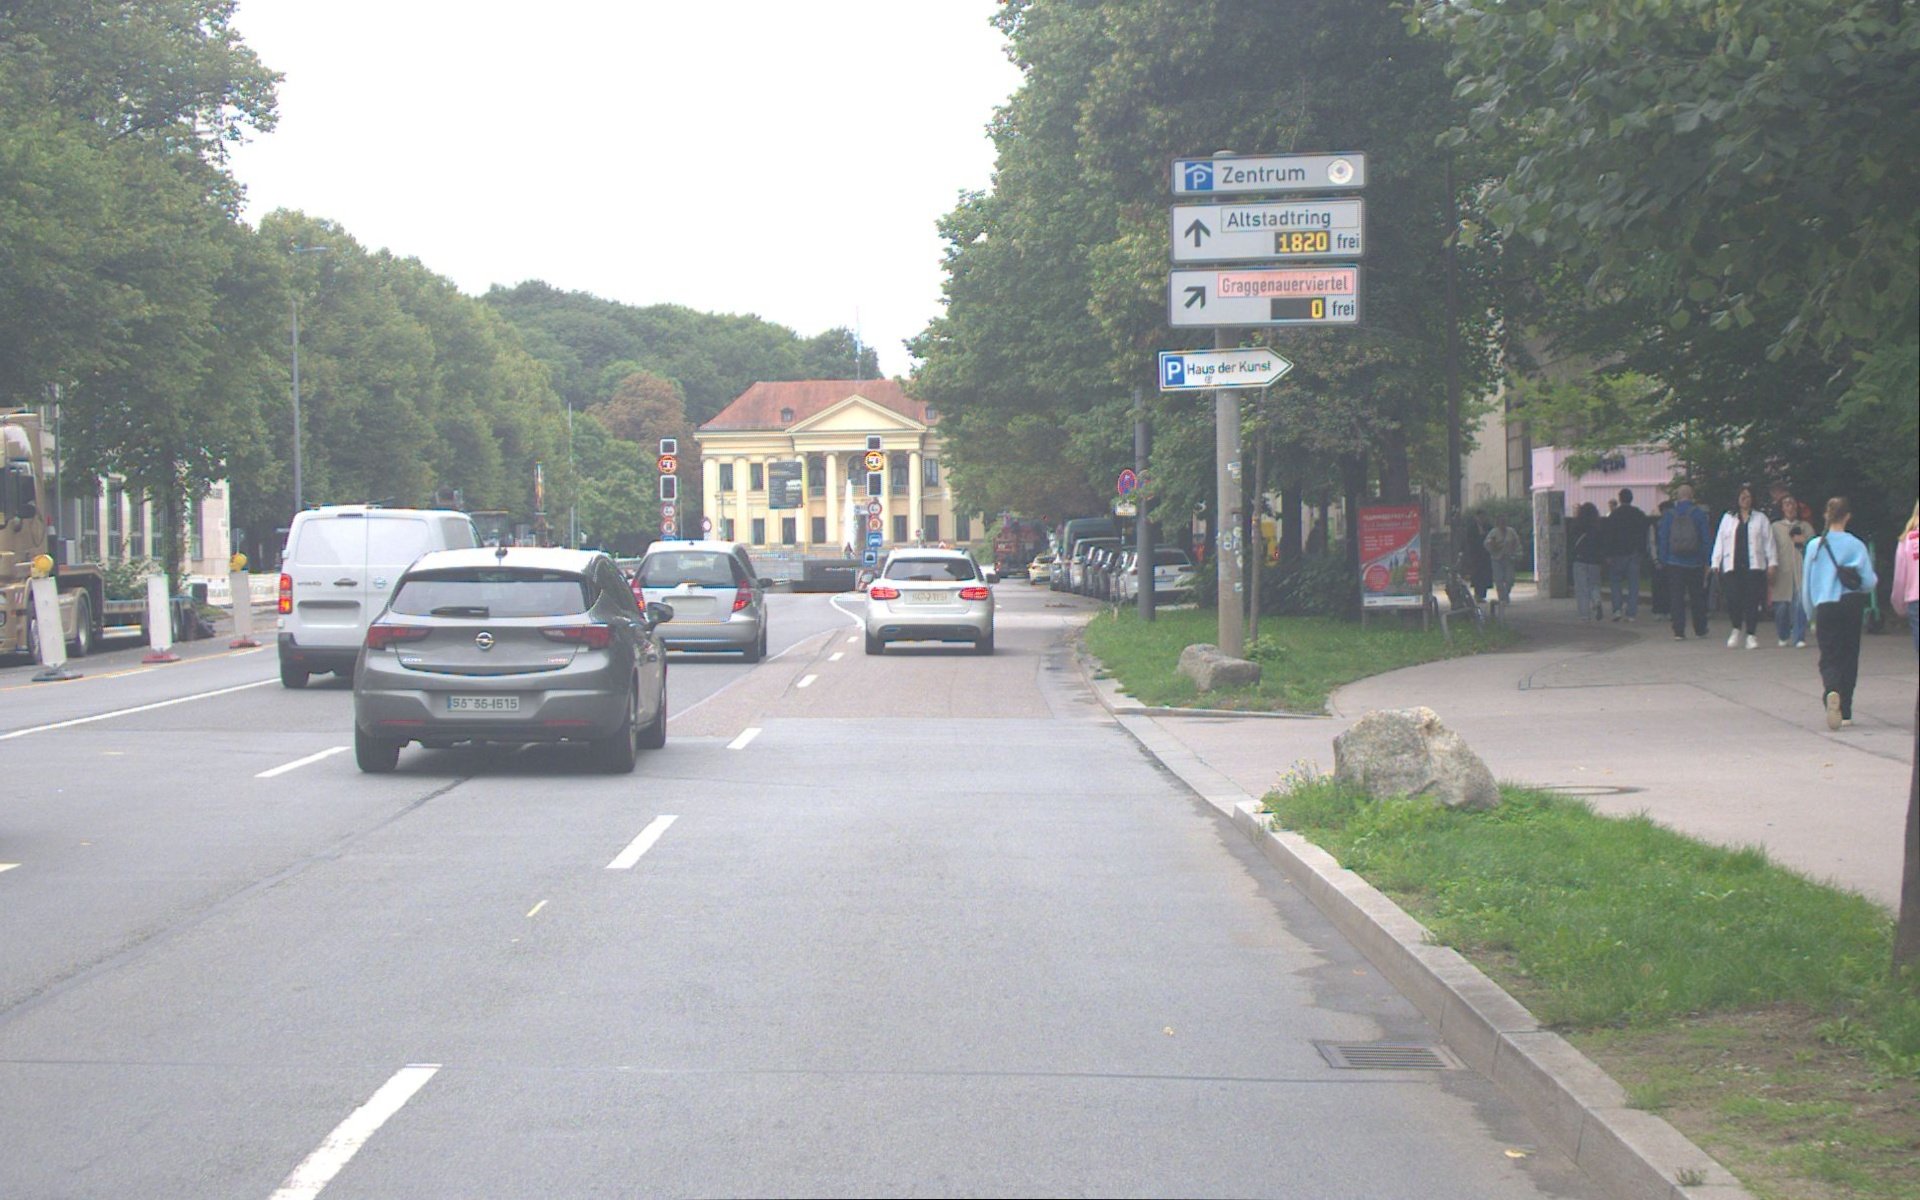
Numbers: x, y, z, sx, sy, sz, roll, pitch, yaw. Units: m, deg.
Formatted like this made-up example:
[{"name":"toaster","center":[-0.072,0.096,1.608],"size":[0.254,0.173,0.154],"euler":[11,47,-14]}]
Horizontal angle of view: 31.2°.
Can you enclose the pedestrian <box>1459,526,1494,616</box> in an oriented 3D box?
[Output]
[{"name":"pedestrian","center":[9.650,-0.549,64.268],"size":[0.580,1.670,0.553],"euler":[1,0,4]}]

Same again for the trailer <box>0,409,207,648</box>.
[{"name":"trailer","center":[-15.477,-1.180,59.615],"size":[2.949,3.727,11.772],"euler":[1,0,-4]}]

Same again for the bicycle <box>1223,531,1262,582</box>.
[{"name":"bicycle","center":[6.946,-1.059,84.659],"size":[0.628,1.227,2.619],"euler":[1,0,-2]}]

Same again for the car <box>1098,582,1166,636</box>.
[{"name":"car","center":[4.915,0.232,98.550],"size":[1.724,1.459,4.776],"euler":[-1,0,0]}]

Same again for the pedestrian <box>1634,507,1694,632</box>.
[{"name":"pedestrian","center":[9.912,-0.425,48.376],"size":[0.755,1.731,0.849],"euler":[1,0,15]}]

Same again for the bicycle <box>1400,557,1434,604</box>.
[{"name":"bicycle","center":[13.788,-0.589,103.776],"size":[0.699,1.410,2.299],"euler":[-1,0,0]}]

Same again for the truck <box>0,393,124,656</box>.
[{"name":"truck","center":[-15.051,-1.135,53.100],"size":[2.915,3.762,7.667],"euler":[1,0,-4]}]

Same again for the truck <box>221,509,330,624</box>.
[{"name":"truck","center":[-20.920,-1.019,105.407],"size":[2.840,3.345,8.766],"euler":[1,0,-9]}]

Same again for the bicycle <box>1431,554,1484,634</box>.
[{"name":"bicycle","center":[6.494,-0.083,44.919],"size":[0.384,1.018,2.079],"euler":[1,0,0]}]

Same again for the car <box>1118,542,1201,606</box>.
[{"name":"car","center":[5.002,-0.652,86.528],"size":[1.827,1.544,4.751],"euler":[-1,0,0]}]

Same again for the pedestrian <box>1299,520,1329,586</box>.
[{"name":"pedestrian","center":[10.166,-1.348,98.695],"size":[0.764,1.904,0.771],"euler":[1,0,1]}]

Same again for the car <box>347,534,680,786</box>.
[{"name":"car","center":[-2.939,0.358,23.377],"size":[1.710,1.547,4.000],"euler":[1,0,0]}]

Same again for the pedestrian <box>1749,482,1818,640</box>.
[{"name":"pedestrian","center":[9.578,-0.454,39.991],"size":[0.588,1.816,0.850],"euler":[1,0,1]}]

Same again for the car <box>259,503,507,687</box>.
[{"name":"car","center":[-6.164,-0.063,37.261],"size":[1.898,1.841,4.956],"euler":[-1,0,-1]}]

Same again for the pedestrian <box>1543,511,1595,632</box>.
[{"name":"pedestrian","center":[8.555,-0.402,48.313],"size":[0.608,1.675,0.753],"euler":[1,0,4]}]

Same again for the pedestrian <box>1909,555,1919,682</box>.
[{"name":"pedestrian","center":[8.875,0.164,30.941],"size":[0.632,1.133,0.572],"euler":[1,0,15]}]

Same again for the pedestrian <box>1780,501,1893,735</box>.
[{"name":"pedestrian","center":[6.283,0.123,24.623],"size":[0.755,1.638,0.849],"euler":[1,0,15]}]

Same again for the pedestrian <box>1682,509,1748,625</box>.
[{"name":"pedestrian","center":[10.693,-0.468,48.726],"size":[0.680,1.632,0.664],"euler":[1,0,-12]}]

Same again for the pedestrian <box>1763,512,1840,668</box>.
[{"name":"pedestrian","center":[9.024,-0.111,36.856],"size":[0.755,1.638,0.690],"euler":[1,0,15]}]

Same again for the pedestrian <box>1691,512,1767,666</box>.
[{"name":"pedestrian","center":[8.286,-0.121,37.038],"size":[0.755,1.638,0.650],"euler":[1,0,15]}]

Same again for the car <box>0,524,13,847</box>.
[{"name":"car","center":[-5.683,0.448,15.462],"size":[1.722,1.631,4.205],"euler":[-1,0,-1]}]

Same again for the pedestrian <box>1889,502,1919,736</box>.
[{"name":"pedestrian","center":[7.002,0.133,24.430],"size":[0.755,1.638,0.849],"euler":[1,0,15]}]

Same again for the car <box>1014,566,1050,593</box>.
[{"name":"car","center":[3.572,-1.030,171.511],"size":[1.724,1.319,4.028],"euler":[-1,0,1]}]

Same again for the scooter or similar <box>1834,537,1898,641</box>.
[{"name":"scooter or similar","center":[10.558,-0.134,40.094],"size":[0.418,1.194,1.219],"euler":[1,0,0]}]

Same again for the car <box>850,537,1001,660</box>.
[{"name":"car","center":[-0.526,-0.042,48.339],"size":[1.779,1.639,4.001],"euler":[1,0,-5]}]

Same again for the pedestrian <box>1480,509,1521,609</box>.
[{"name":"pedestrian","center":[9.688,-0.738,61.631],"size":[0.630,1.768,0.782],"euler":[1,0,4]}]

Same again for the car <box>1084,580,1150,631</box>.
[{"name":"car","center":[4.733,0.144,103.896],"size":[1.822,1.459,4.028],"euler":[-1,0,1]}]

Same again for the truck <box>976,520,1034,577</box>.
[{"name":"truck","center":[2.715,-3.124,209.016],"size":[3.325,3.355,8.662],"euler":[1,0,0]}]

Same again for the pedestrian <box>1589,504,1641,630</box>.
[{"name":"pedestrian","center":[9.198,-0.462,48.292],"size":[0.608,1.757,0.797],"euler":[1,0,4]}]

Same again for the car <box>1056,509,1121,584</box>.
[{"name":"car","center":[4.638,-1.935,124.754],"size":[1.993,2.634,4.878],"euler":[1,0,-2]}]

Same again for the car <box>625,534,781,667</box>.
[{"name":"car","center":[-3.334,-0.014,45.223],"size":[1.779,1.648,4.000],"euler":[1,0,-1]}]

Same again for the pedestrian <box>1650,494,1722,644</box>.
[{"name":"pedestrian","center":[8.484,-0.363,40.168],"size":[0.755,1.731,0.849],"euler":[1,0,15]}]
